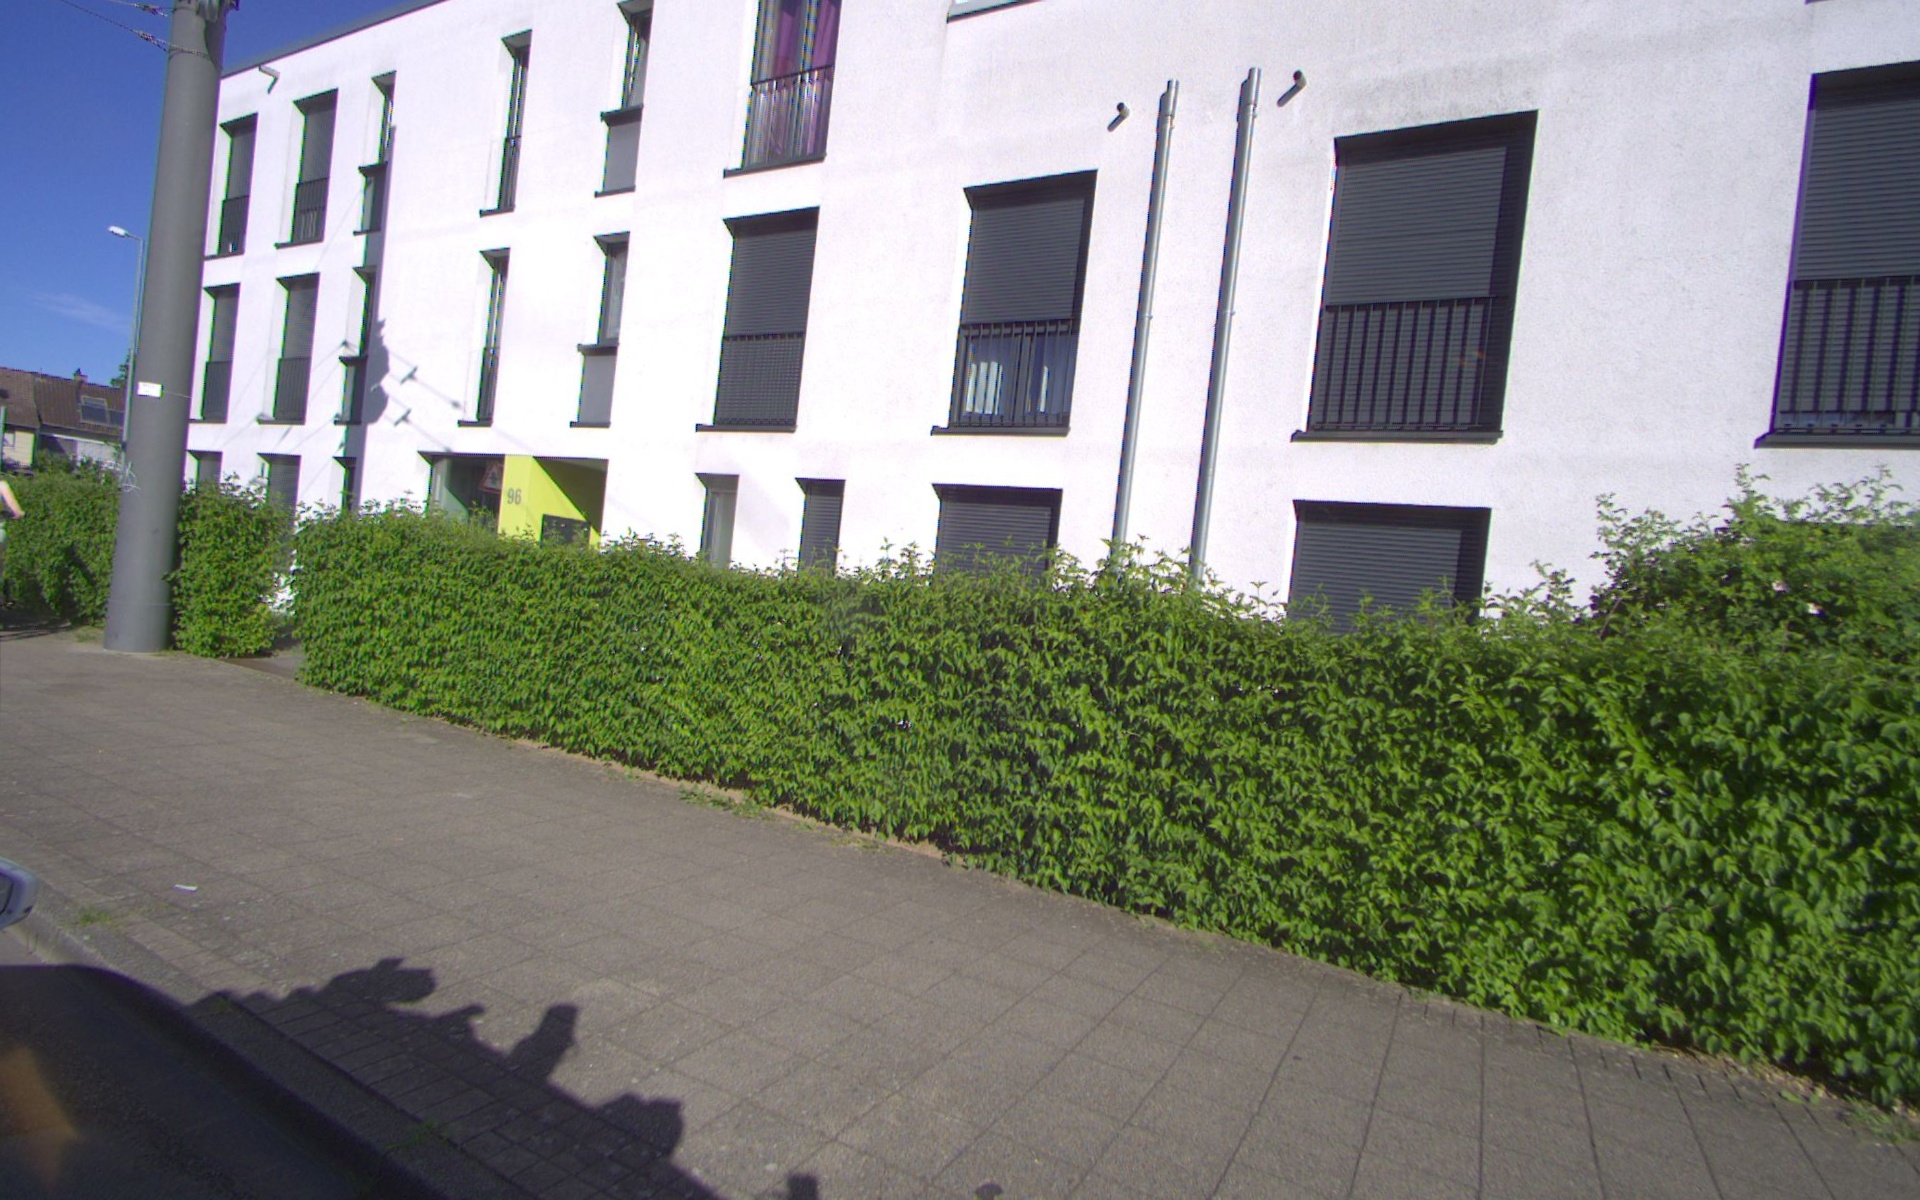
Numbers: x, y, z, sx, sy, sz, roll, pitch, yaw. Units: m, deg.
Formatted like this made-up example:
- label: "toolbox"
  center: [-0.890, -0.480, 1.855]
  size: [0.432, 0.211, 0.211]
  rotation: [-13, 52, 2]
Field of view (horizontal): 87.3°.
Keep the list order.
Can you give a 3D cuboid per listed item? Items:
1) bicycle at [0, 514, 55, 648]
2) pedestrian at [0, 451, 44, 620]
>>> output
- label: "bicycle"
  center: [-10.103, -0.299, 10.123]
  size: [3.079, 1.188, 0.928]
  rotation: [6, 1, 39]
- label: "pedestrian"
  center: [-9.738, -0.677, 9.864]
  size: [0.842, 1.614, 0.910]
  rotation: [7, 1, 38]
